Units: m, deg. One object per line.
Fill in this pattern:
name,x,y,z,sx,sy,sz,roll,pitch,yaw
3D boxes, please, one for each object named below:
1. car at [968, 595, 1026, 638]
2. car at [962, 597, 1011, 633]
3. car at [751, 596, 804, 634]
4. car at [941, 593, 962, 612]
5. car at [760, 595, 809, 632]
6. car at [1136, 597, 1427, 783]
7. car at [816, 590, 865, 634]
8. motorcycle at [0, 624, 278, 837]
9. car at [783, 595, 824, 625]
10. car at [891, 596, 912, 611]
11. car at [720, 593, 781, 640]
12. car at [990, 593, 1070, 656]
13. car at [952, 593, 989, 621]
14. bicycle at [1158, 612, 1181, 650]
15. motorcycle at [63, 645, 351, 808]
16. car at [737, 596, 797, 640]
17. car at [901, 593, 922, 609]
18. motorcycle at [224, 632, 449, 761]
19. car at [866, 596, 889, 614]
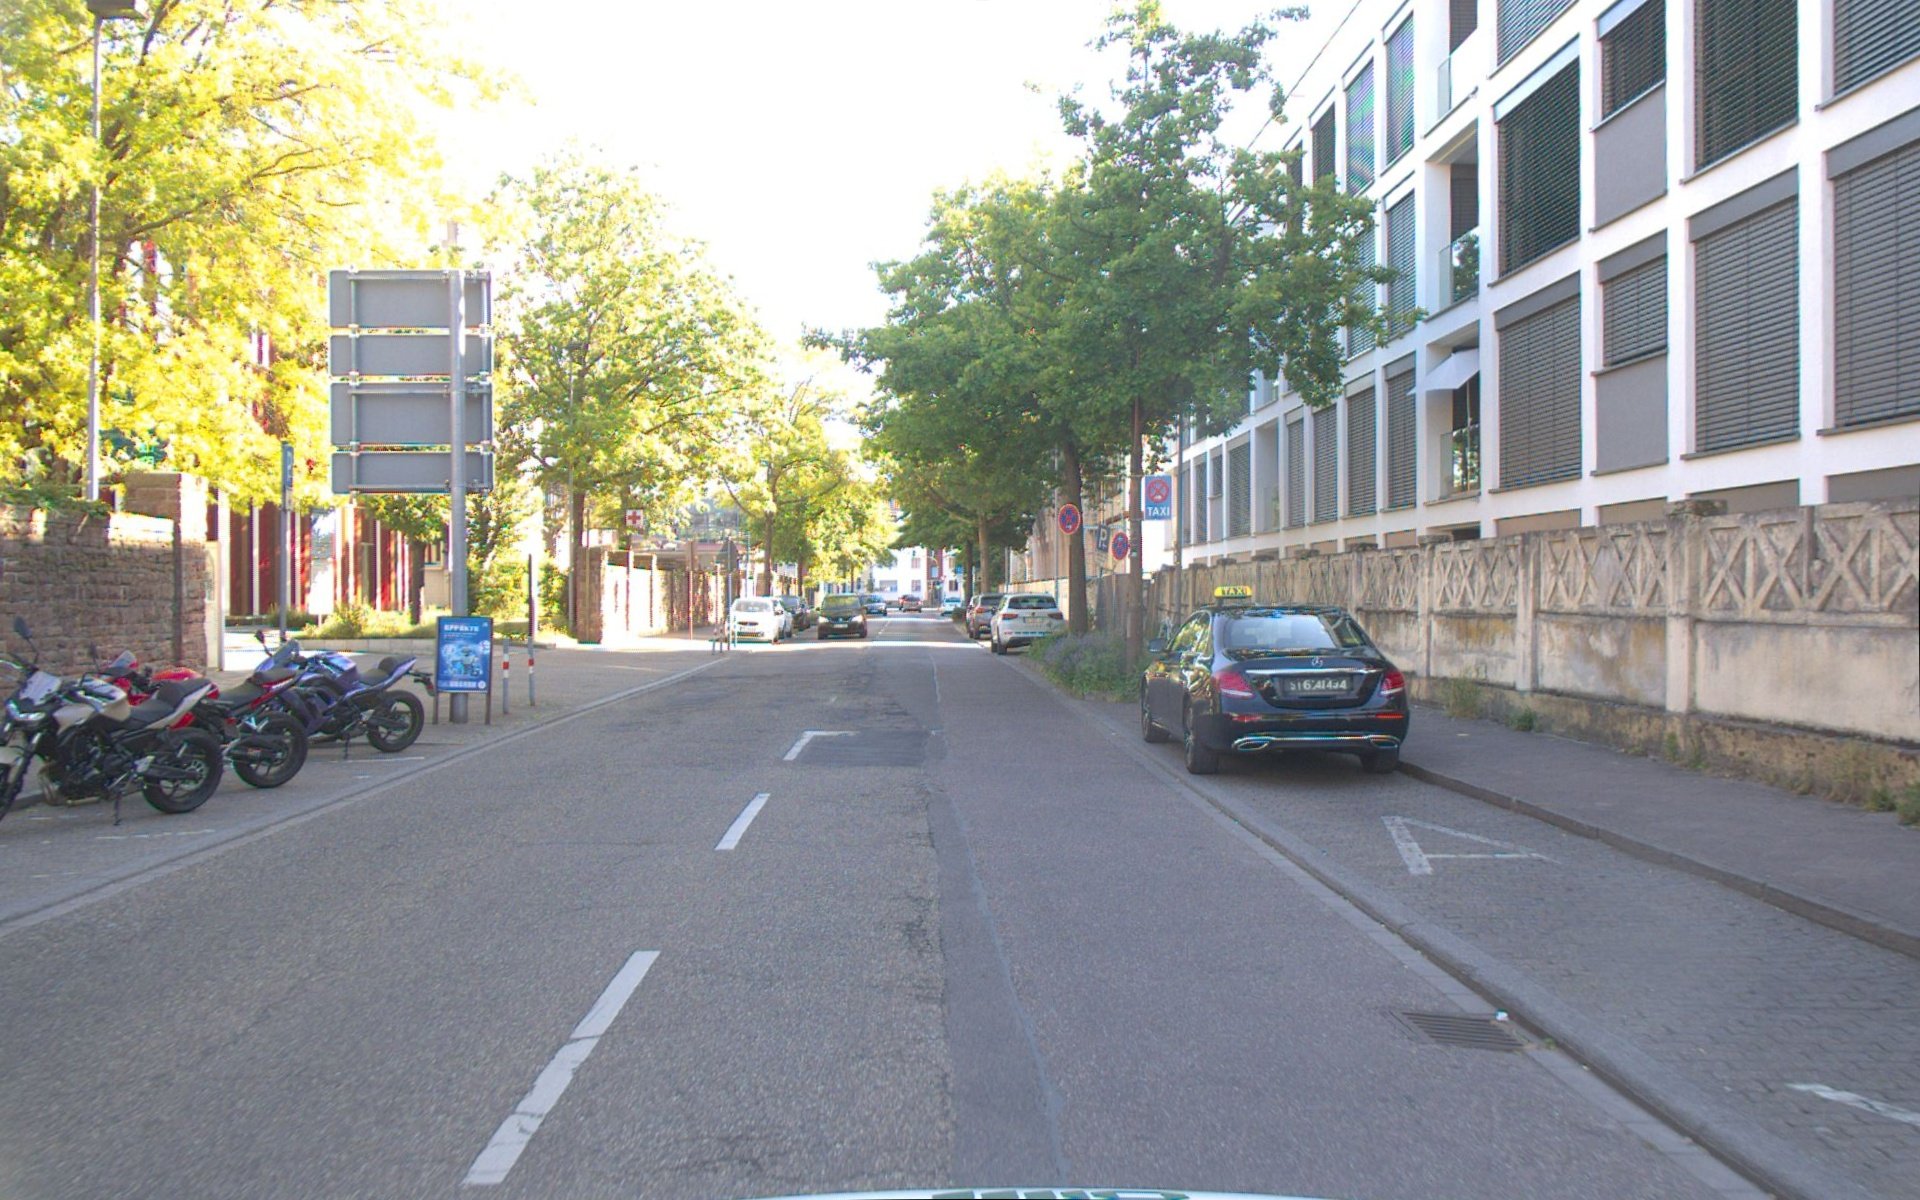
car,1.299,0.560,59.870,1.953,1.491,3.836,0,0,-1
car,1.073,0.620,69.259,1.953,1.450,3.836,0,0,-1
car,-7.668,0.602,69.806,1.868,1.557,3.999,0,0,-2
car,-0.681,0.185,124.980,1.553,1.424,3.836,0,0,-1
car,-7.819,0.583,73.943,1.868,1.557,3.999,0,0,-2
car,2.800,0.714,15.286,1.732,1.465,3.998,0,0,-3
car,-4.383,0.418,61.132,1.620,1.557,3.999,0,0,-2
motorcycle,-5.805,0.838,11.412,0.566,1.298,2.117,0,0,31
car,-8.219,0.515,86.998,1.868,1.557,3.999,0,0,-2
car,-6.054,0.321,170.121,1.954,1.478,3.996,0,0,-4
car,-7.031,0.514,55.722,1.732,1.513,3.998,0,0,-3
car,1.819,0.617,44.119,1.911,1.606,3.836,0,0,-1
car,0.548,0.371,90.613,1.953,1.450,3.836,0,0,-1
bicycle,4.854,0.717,38.413,0.349,0.856,1.324,0,0,-1
motorcycle,-5.847,0.941,12.991,0.566,1.093,2.117,0,0,31
car,-7.180,0.641,61.788,1.868,1.557,3.999,0,0,-2
car,-4.361,0.102,150.392,1.851,1.424,3.836,0,0,-1
motorcycle,-5.891,0.878,15.775,0.566,1.093,2.117,0,0,31
car,-6.015,0.383,121.554,1.553,1.298,3.836,0,0,-1
